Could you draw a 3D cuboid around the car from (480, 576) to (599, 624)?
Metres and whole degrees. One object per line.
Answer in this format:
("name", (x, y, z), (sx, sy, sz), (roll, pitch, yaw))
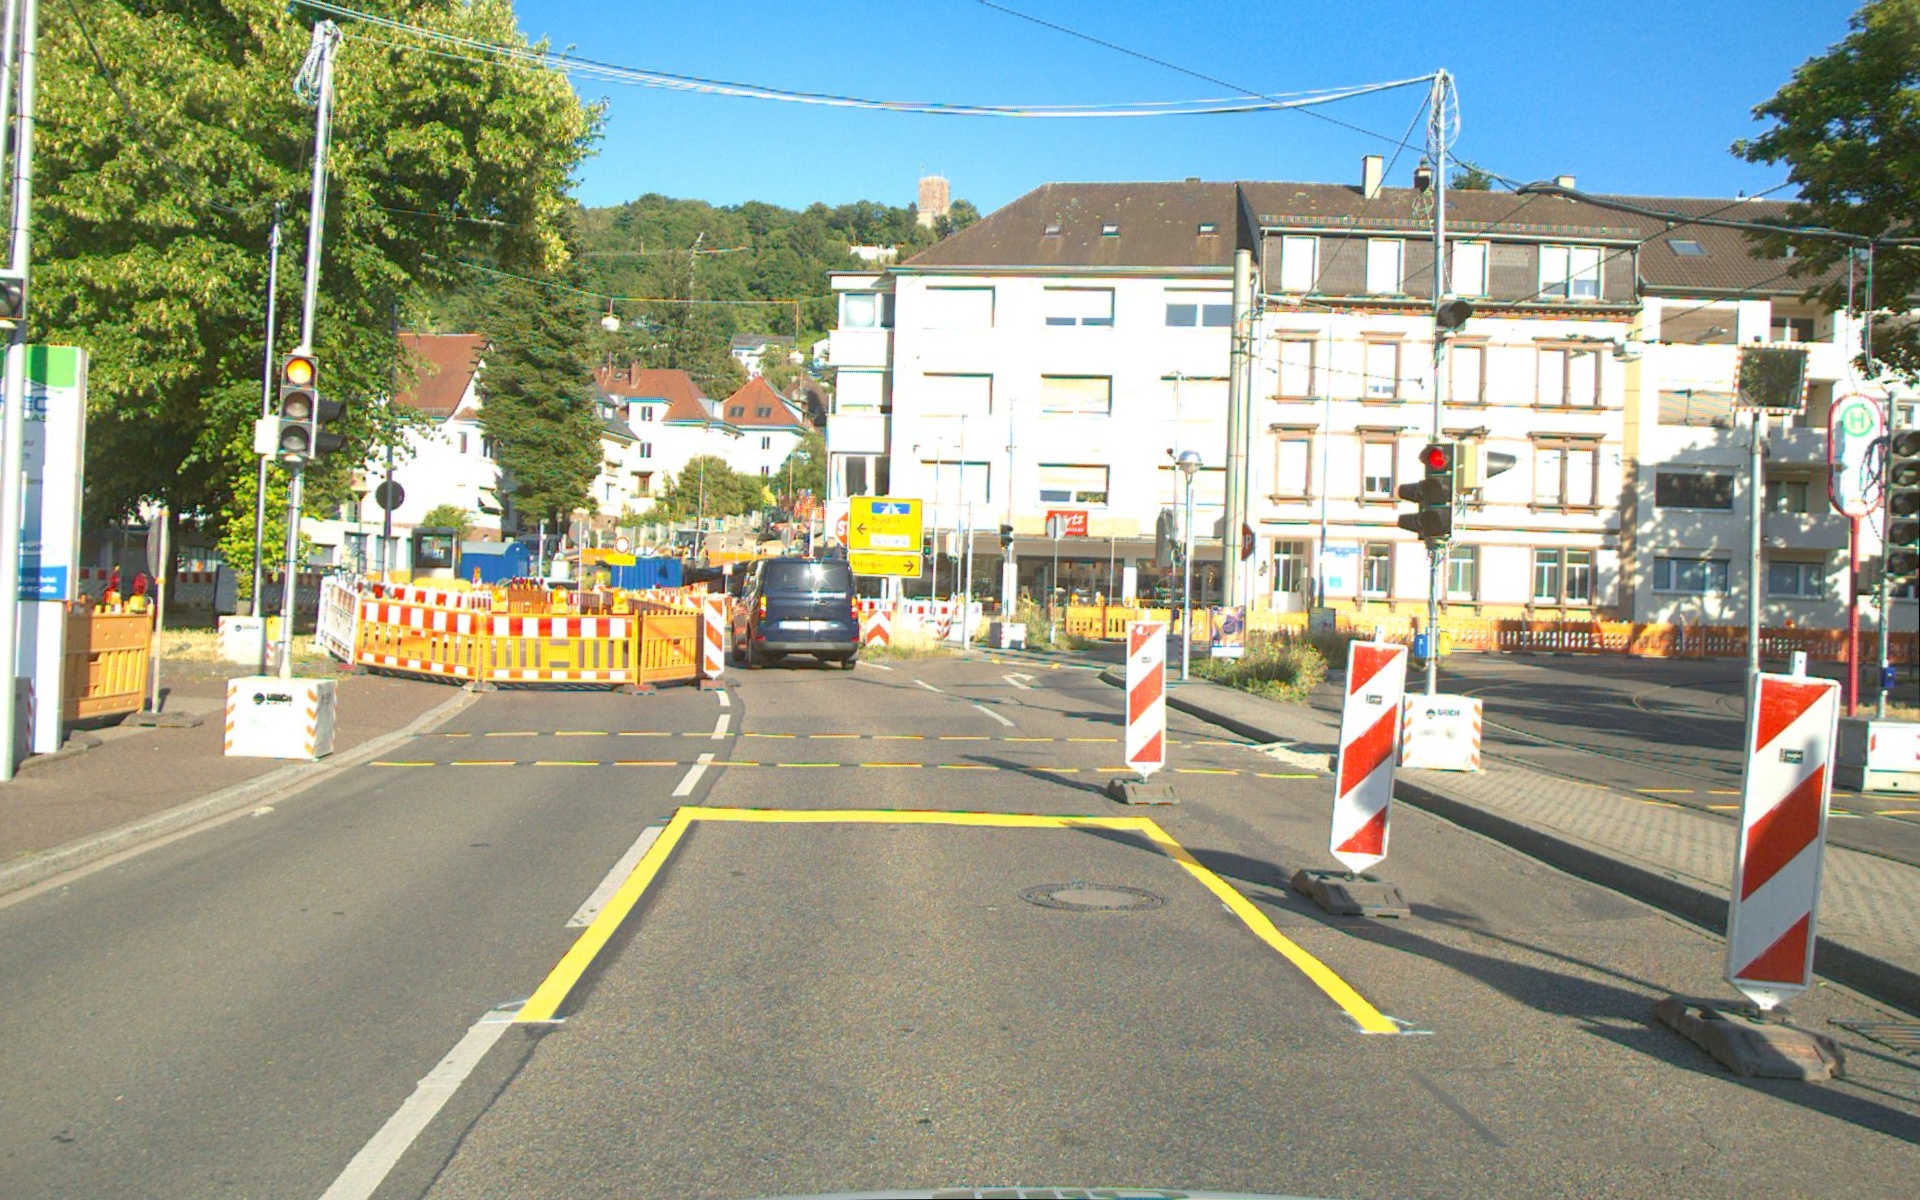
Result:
("car", (-13.525, -0.002, 53.161), (3.927, 1.434, 1.790), (1, 0, 41))

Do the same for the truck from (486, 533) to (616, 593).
("truck", (-18.572, -1.614, 75.812), (2.306, 2.458, 9.159), (2, 0, 9))

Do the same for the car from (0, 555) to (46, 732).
("car", (-9.970, 0.268, 14.851), (4.220, 1.480, 1.642), (3, 0, 40))

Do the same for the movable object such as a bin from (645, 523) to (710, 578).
("movable object such as a bin", (-14.766, -2.558, 86.537), (2.144, 2.737, 4.003), (2, 0, 8))

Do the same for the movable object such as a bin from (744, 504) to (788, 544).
("movable object such as a bin", (-14.198, -5.530, 121.139), (2.144, 2.737, 4.003), (2, 0, 8))

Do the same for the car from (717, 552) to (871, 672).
("car", (-3.225, 0.176, 31.168), (2.028, 2.049, 4.979), (2, 1, -16))
